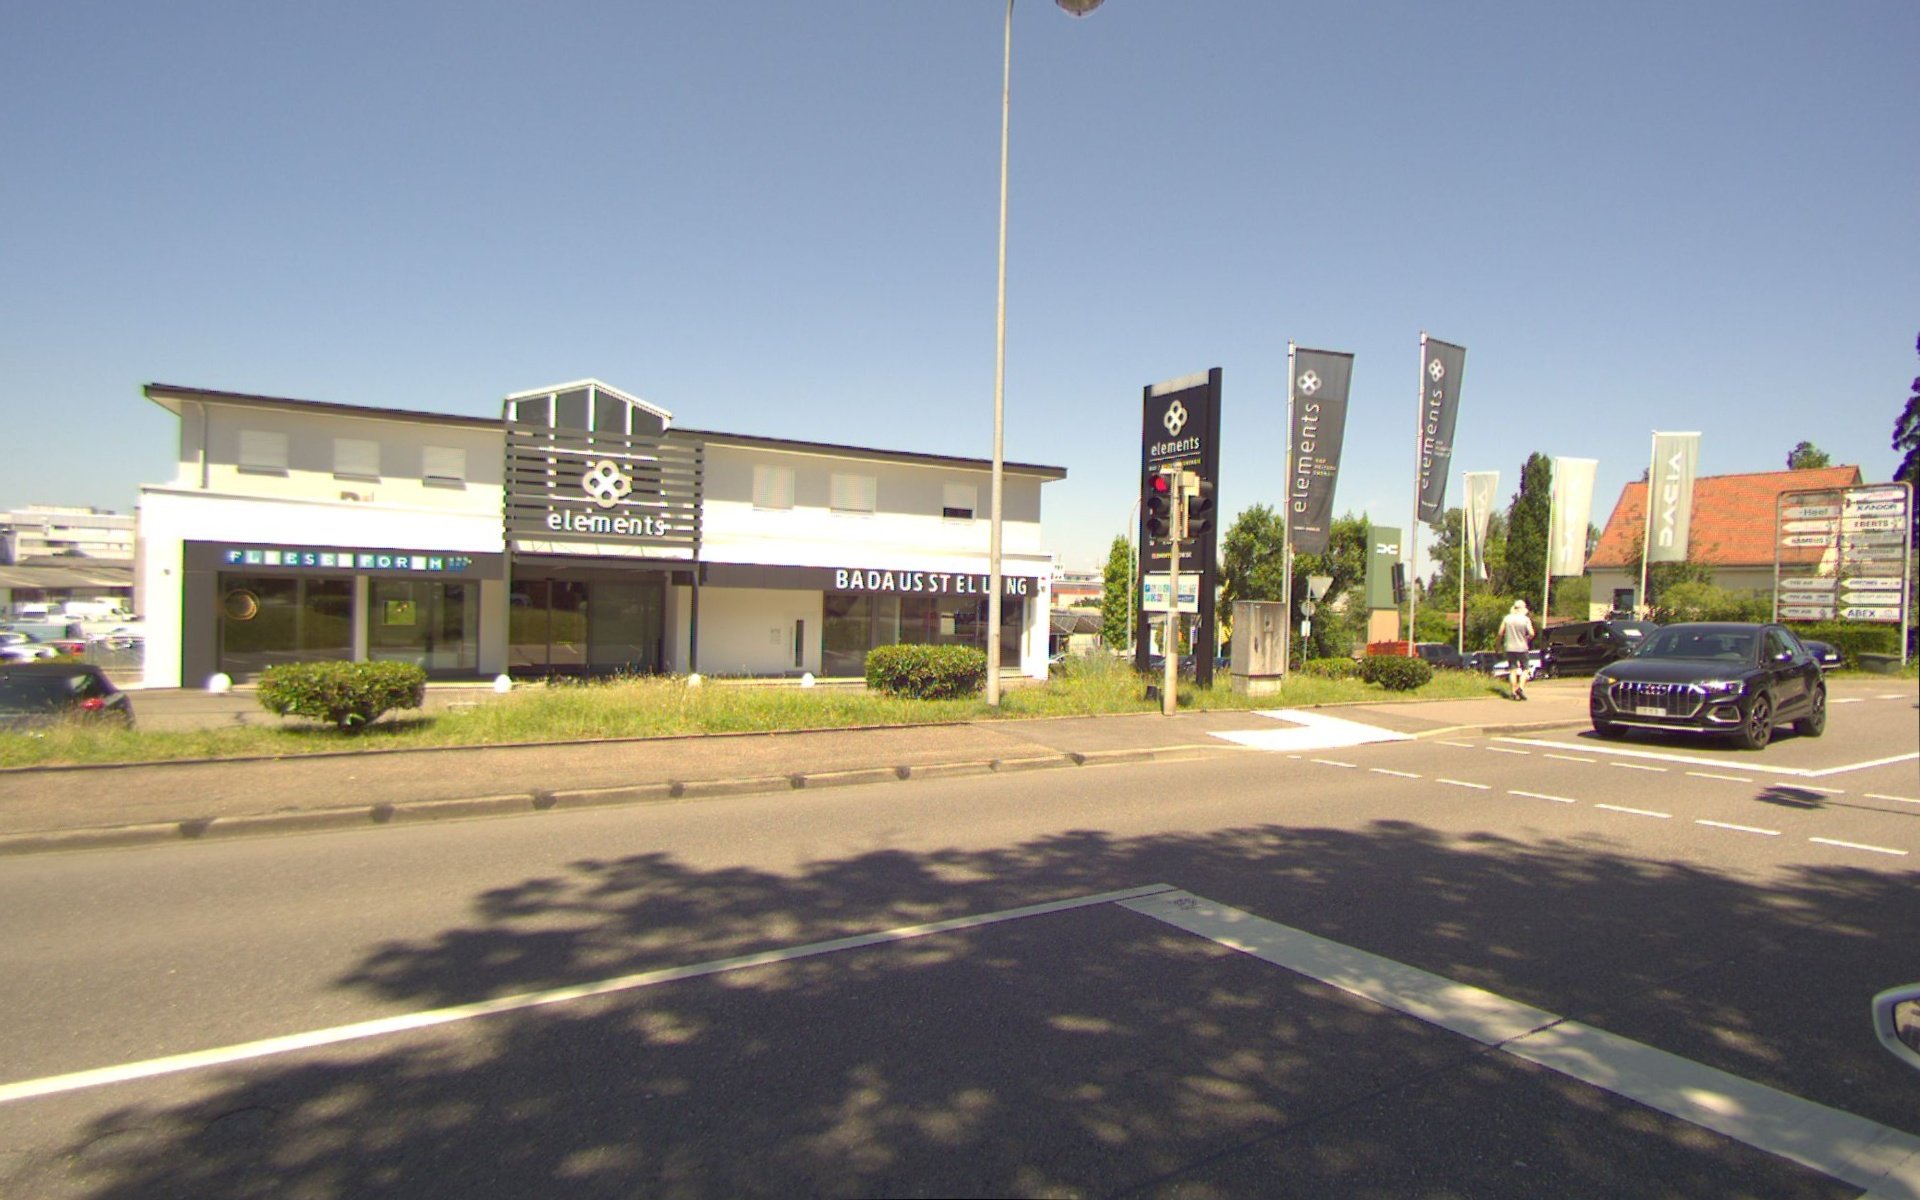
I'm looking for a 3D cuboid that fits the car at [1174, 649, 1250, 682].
[{"bbox_3d":[12.037,3.086,47.818,3.838,1.434,1.633,2,-1,-42],"label":"car"}]

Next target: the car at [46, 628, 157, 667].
[{"bbox_3d":[-41.207,2.272,48.303,3.726,1.778,1.719,2,-1,-28],"label":"car"}]

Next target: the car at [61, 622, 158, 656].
[{"bbox_3d":[-46.715,2.127,55.244,3.726,1.778,1.719,2,-1,-28],"label":"car"}]

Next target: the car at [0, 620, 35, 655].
[{"bbox_3d":[-51.421,1.952,52.790,3.726,1.778,1.719,2,-1,-28],"label":"car"}]

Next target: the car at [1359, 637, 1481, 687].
[{"bbox_3d":[17.502,2.359,38.252,4.022,1.744,1.808,2,0,-16],"label":"car"}]

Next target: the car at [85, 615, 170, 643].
[{"bbox_3d":[-55.205,1.920,66.664,4.004,1.778,1.719,2,-1,-28],"label":"car"}]

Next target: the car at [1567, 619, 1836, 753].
[{"bbox_3d":[10.468,1.095,14.092,4.263,1.576,1.912,2,-1,-37],"label":"car"}]

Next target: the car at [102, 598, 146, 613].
[{"bbox_3d":[-99.618,0.657,119.772,3.726,1.778,1.719,2,-1,-28],"label":"car"}]

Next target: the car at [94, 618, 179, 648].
[{"bbox_3d":[-50.575,2.041,61.790,3.726,1.778,1.719,2,-1,-28],"label":"car"}]

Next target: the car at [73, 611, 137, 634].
[{"bbox_3d":[-71.021,1.838,83.483,3.726,1.778,1.719,2,1,-28],"label":"car"}]

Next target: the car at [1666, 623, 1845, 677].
[{"bbox_3d":[24.898,1.529,31.622,1.751,1.524,4.129,1,-1,-20],"label":"car"}]

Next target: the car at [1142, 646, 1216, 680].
[{"bbox_3d":[10.957,3.117,50.109,3.973,1.506,1.735,2,-1,-44],"label":"car"}]

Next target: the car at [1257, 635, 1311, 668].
[{"bbox_3d":[18.922,2.962,58.615,1.785,1.744,4.075,2,0,36],"label":"car"}]

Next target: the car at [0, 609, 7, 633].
[{"bbox_3d":[-74.806,1.573,75.840,3.726,1.778,1.719,2,0,-28],"label":"car"}]

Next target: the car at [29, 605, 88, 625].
[{"bbox_3d":[-84.388,1.423,94.063,3.726,1.778,1.719,1,2,-28],"label":"car"}]

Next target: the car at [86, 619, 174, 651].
[{"bbox_3d":[-49.158,2.071,59.581,3.726,1.778,1.719,2,-1,-28],"label":"car"}]

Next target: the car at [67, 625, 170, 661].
[{"bbox_3d":[-43.314,2.212,51.788,3.726,1.778,1.719,2,-1,-28],"label":"car"}]

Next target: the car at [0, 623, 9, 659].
[{"bbox_3d":[-49.201,1.988,48.966,3.726,1.778,1.719,2,-1,-28],"label":"car"}]

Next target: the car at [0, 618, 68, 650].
[{"bbox_3d":[-53.438,1.929,57.101,3.726,1.778,1.719,2,-1,-28],"label":"car"}]

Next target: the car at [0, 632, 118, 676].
[{"bbox_3d":[-39.023,2.303,43.385,3.726,1.778,1.719,2,-1,-28],"label":"car"}]

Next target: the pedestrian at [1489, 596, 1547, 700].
[{"bbox_3d":[9.809,0.840,17.663,0.689,1.785,0.545,1,0,-4],"label":"pedestrian"}]

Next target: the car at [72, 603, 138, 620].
[{"bbox_3d":[-95.727,1.299,112.566,5.236,1.778,2.051,2,-1,-28],"label":"car"}]

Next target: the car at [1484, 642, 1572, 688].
[{"bbox_3d":[23.905,2.677,42.217,4.053,1.744,1.795,2,0,-38],"label":"car"}]

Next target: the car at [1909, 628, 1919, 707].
[{"bbox_3d":[20.588,1.348,19.848,4.011,1.527,1.857,2,-1,-34],"label":"car"}]

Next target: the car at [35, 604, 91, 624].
[{"bbox_3d":[-88.189,1.376,98.768,3.726,1.778,1.719,2,1,-28],"label":"car"}]

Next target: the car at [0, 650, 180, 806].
[{"bbox_3d":[-11.725,1.504,12.876,1.746,1.553,4.076,1,-1,-24],"label":"car"}]

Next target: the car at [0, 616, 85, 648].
[{"bbox_3d":[-54.806,1.903,59.832,3.726,1.778,1.719,2,-1,-28],"label":"car"}]
